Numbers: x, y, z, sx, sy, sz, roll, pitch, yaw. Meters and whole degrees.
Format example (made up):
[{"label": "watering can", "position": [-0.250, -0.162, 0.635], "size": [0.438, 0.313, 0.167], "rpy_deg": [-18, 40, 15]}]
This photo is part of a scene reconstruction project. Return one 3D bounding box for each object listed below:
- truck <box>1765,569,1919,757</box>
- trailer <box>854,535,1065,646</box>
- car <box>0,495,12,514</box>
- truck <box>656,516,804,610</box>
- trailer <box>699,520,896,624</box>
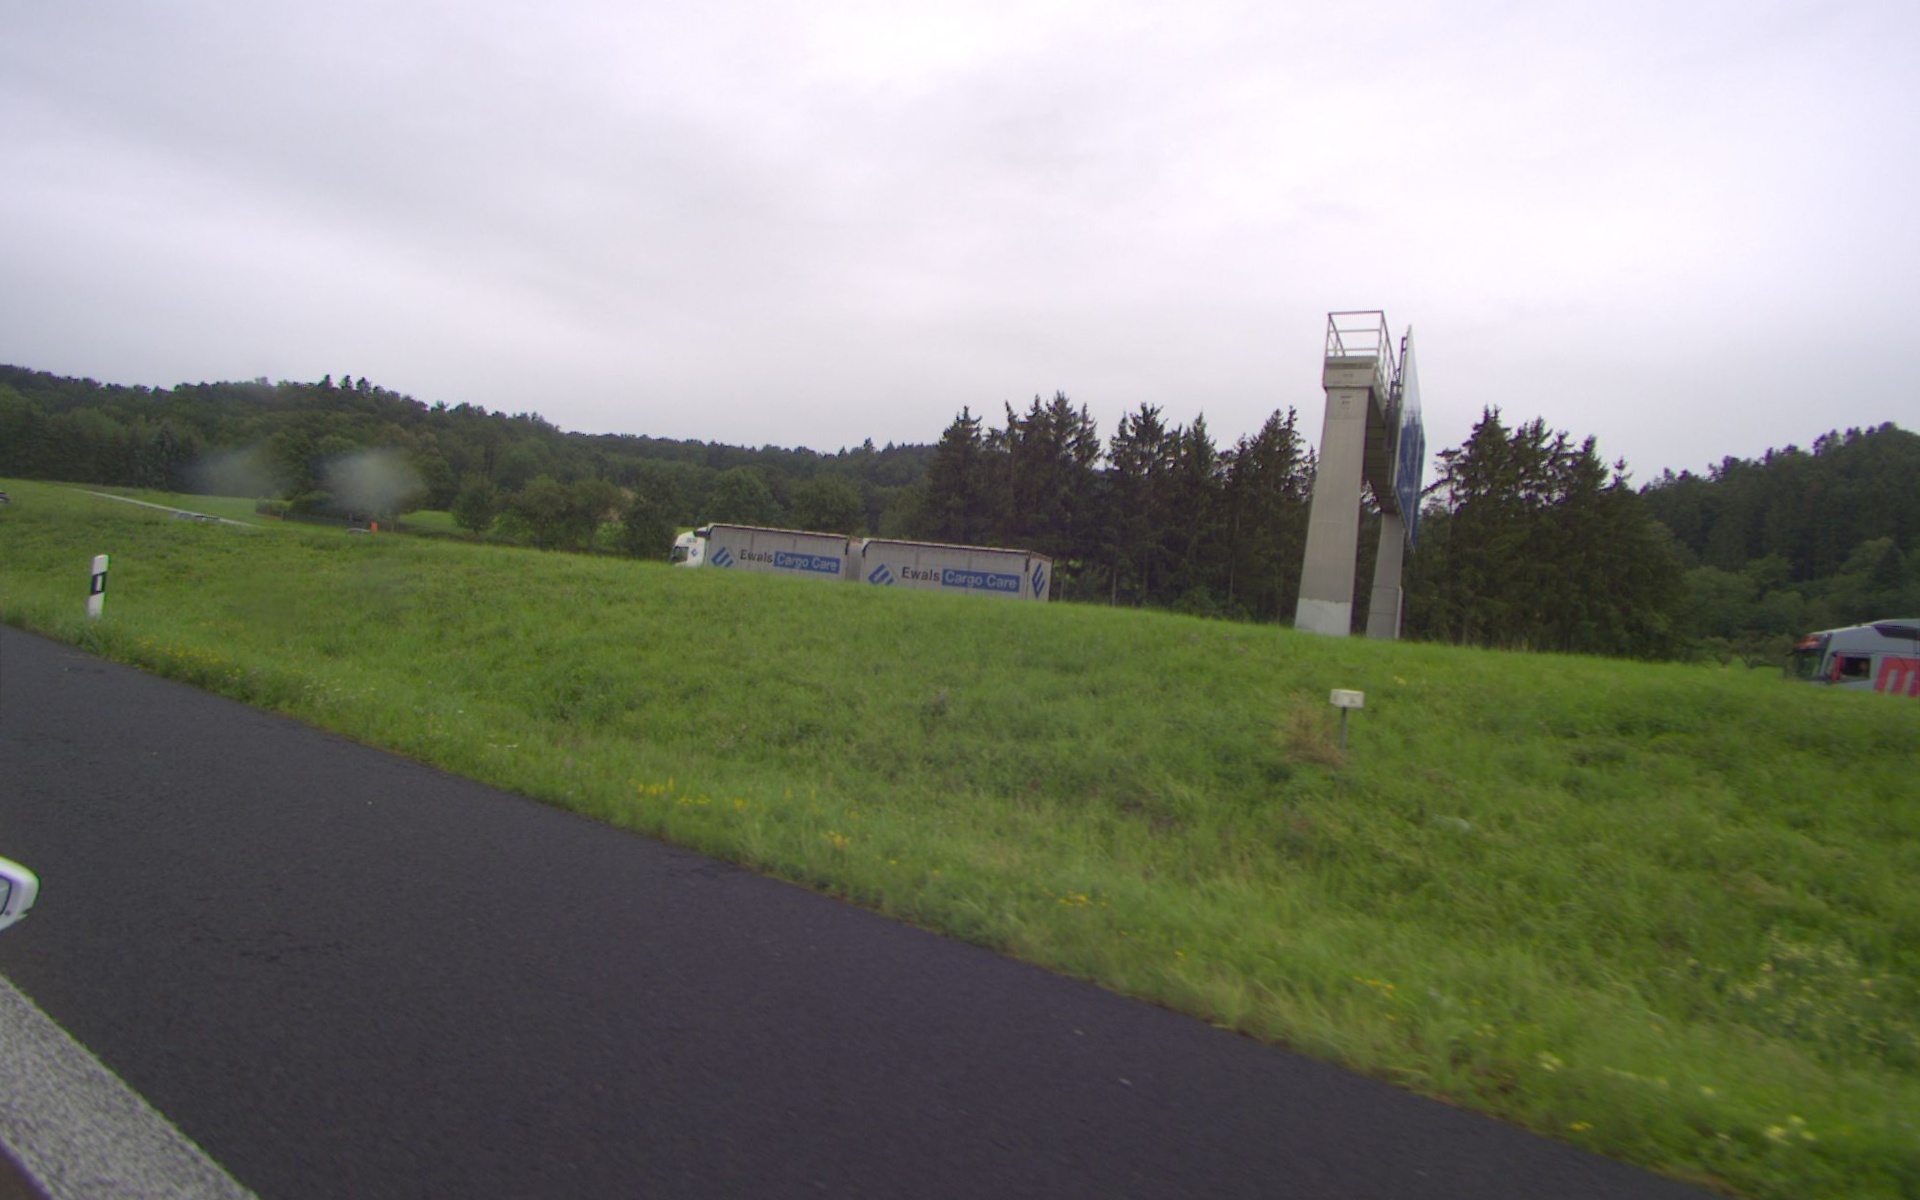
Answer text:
[{"label": "truck", "position": [30.817, 2.460, 24.554], "size": [16.586, 4.595, 3.831], "rpy_deg": [7, -1, 26]}, {"label": "trailer", "position": [-0.045, -0.424, 42.291], "size": [7.940, 3.567, 3.089], "rpy_deg": [7, -2, 25]}, {"label": "car", "position": [-72.480, -7.312, 74.748], "size": [3.472, 1.303, 1.703], "rpy_deg": [7, -2, 26]}, {"label": "truck", "position": [-10.817, -1.732, 47.333], "size": [5.821, 3.567, 2.948], "rpy_deg": [7, -2, 25]}, {"label": "trailer", "position": [-7.427, -1.295, 45.726], "size": [8.268, 3.567, 2.948], "rpy_deg": [7, -2, 25]}]
